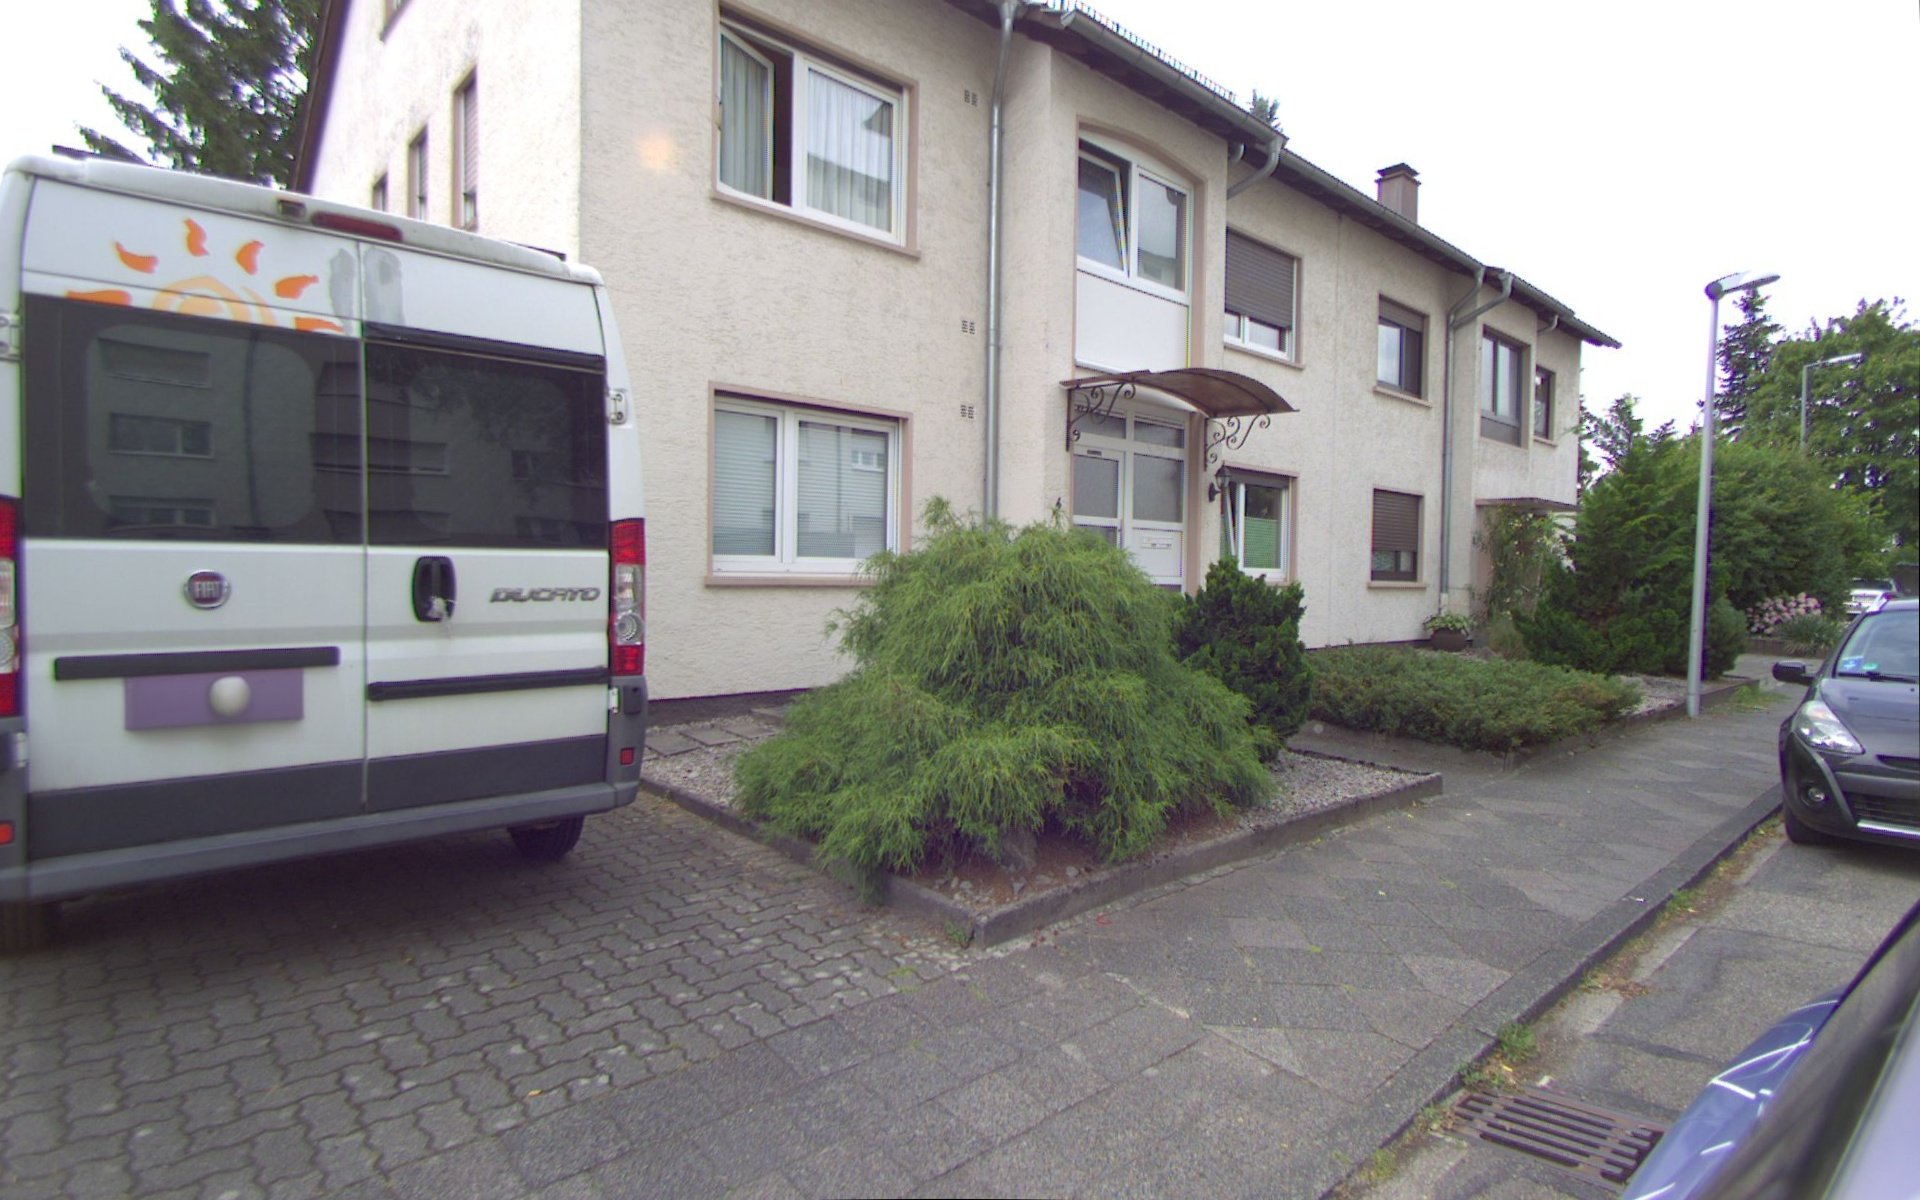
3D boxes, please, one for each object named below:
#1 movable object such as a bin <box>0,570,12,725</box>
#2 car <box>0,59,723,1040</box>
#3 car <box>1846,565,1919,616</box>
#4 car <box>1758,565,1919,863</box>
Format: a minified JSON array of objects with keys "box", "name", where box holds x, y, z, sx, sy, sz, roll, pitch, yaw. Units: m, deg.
[{"box":[-7.052,0.331,7.123,0.537,1.069,0.456,-1,4,-43],"name":"movable object such as a bin"},{"box":[-3.459,-0.262,5.234,2.199,2.573,5.098,0,3,-41],"name":"car"},{"box":[30.394,-0.352,33.199,3.936,1.484,1.702,-3,4,-45],"name":"car"},{"box":[6.425,0.549,6.262,4.122,1.476,1.831,-1,1,-44],"name":"car"}]
